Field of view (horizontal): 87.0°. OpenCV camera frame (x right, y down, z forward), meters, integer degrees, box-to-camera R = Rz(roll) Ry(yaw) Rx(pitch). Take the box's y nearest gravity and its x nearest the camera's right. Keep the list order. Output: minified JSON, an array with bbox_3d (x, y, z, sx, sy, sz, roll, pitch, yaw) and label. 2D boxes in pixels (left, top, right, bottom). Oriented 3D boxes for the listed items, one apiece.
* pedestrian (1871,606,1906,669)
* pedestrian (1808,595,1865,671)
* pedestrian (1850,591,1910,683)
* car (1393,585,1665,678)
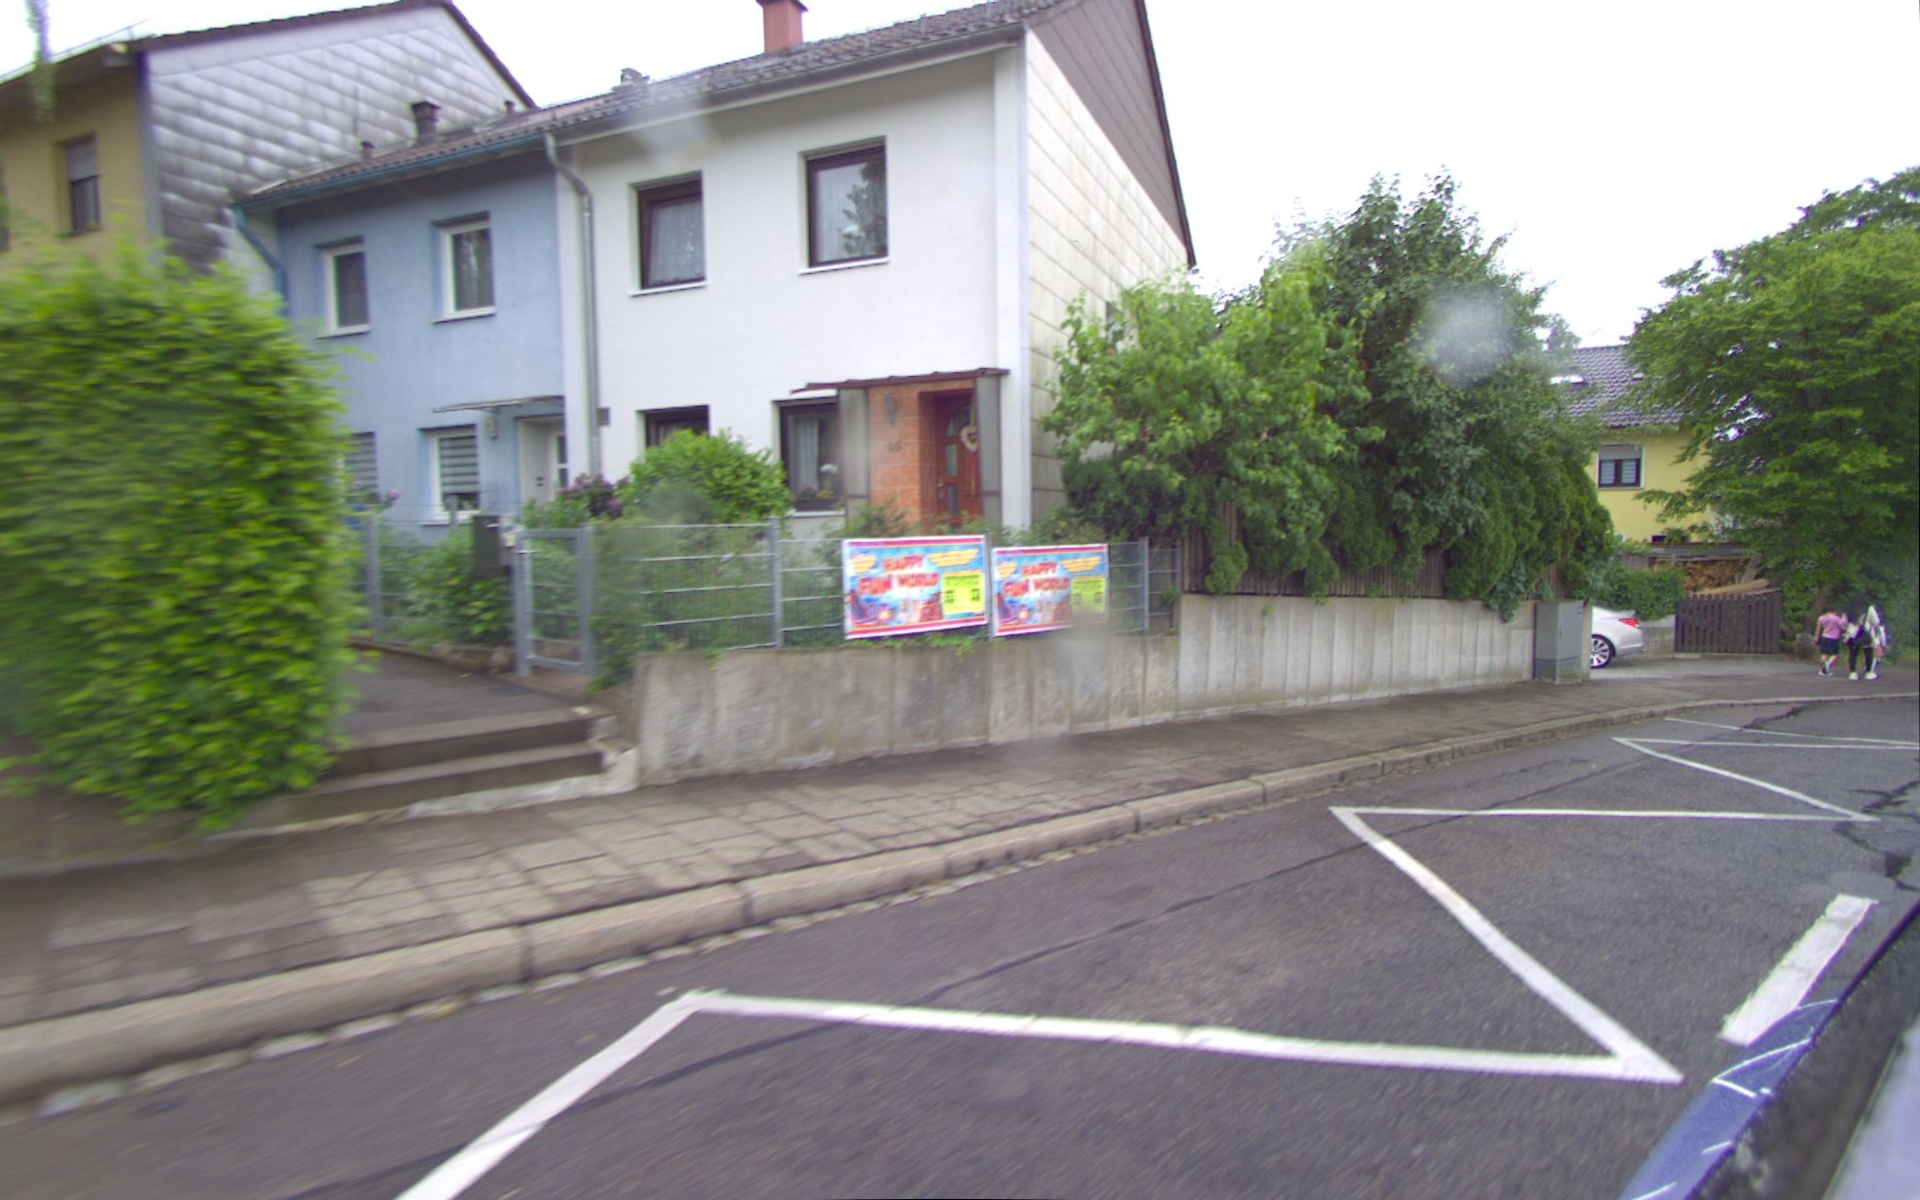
[{"bbox_3d":[17.633,0.711,19.219,0.359,1.161,0.369,1,1,-32],"label":"pedestrian"},{"bbox_3d":[16.353,0.598,18.893,0.633,1.371,0.605,1,2,-32],"label":"pedestrian"},{"bbox_3d":[16.691,0.651,18.367,0.633,1.613,0.612,1,2,-32],"label":"pedestrian"},{"bbox_3d":[11.606,0.647,21.027,4.546,1.438,1.778,-6,-1,20],"label":"car"}]
